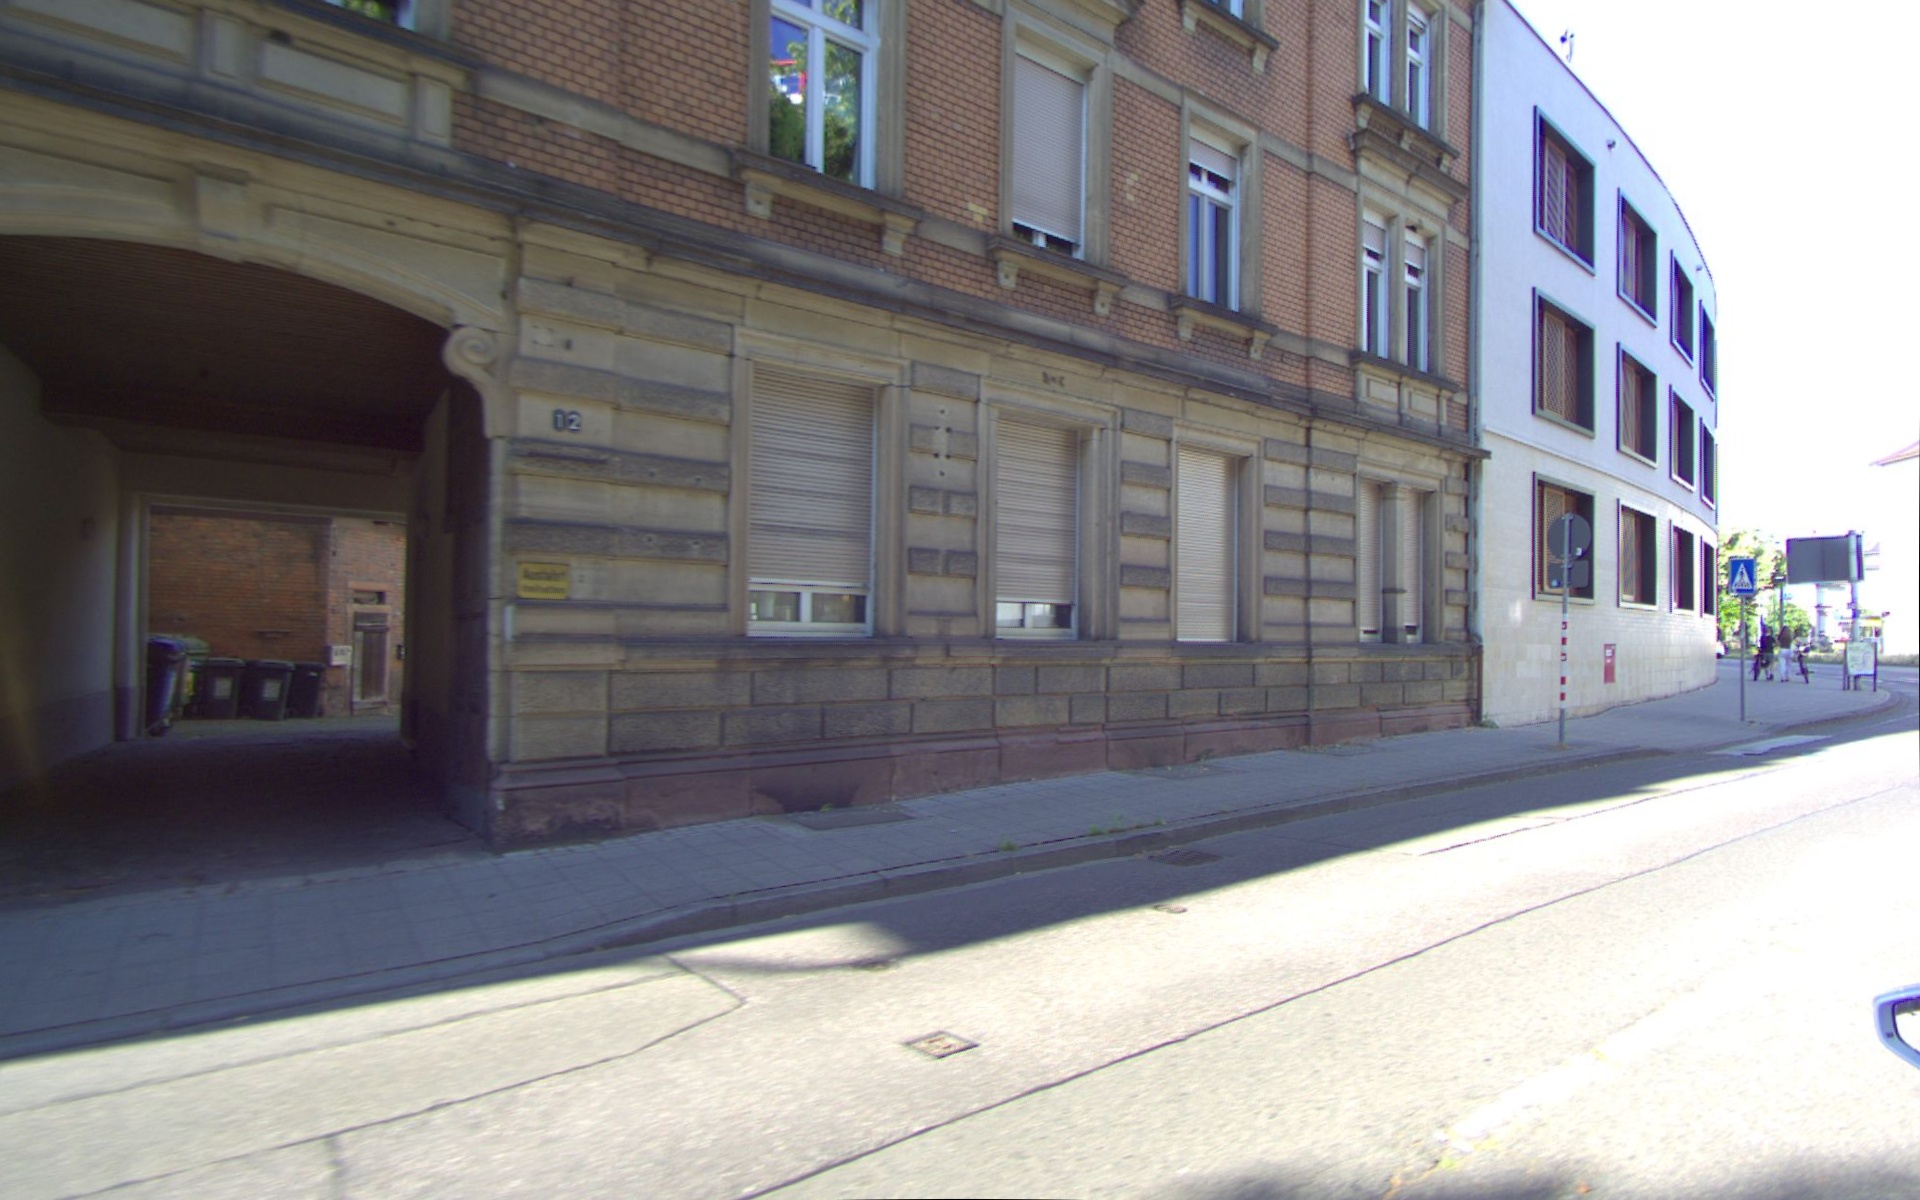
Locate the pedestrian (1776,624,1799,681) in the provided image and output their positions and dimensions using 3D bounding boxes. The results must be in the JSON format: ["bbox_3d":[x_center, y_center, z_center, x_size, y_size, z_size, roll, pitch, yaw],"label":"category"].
[{"bbox_3d":[24.761,1.566,30.063,0.468,1.669,0.600,-2,-2,36],"label":"pedestrian"}]

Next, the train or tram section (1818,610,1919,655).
[{"bbox_3d":[76.910,2.707,83.626,9.740,3.602,2.780,1,-2,-10],"label":"train or tram section"}]

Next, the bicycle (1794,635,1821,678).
[{"bbox_3d":[24.947,1.656,29.582,0.434,1.194,1.960,0,-1,35],"label":"bicycle"}]

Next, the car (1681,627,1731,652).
[{"bbox_3d":[48.501,2.575,65.400,1.929,1.525,3.681,-2,-2,26],"label":"car"}]

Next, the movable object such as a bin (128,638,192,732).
[{"bbox_3d":[-12.533,1.313,15.760,0.671,1.416,0.727,2,-2,-33],"label":"movable object such as a bin"}]

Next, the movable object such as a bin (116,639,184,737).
[{"bbox_3d":[-12.133,1.300,15.075,0.671,1.416,0.727,2,-2,-33],"label":"movable object such as a bin"}]

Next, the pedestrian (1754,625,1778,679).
[{"bbox_3d":[24.359,1.568,30.371,0.468,1.585,0.600,-2,-3,36],"label":"pedestrian"}]

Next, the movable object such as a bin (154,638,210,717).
[{"bbox_3d":[-13.961,1.384,18.046,0.671,1.358,0.824,2,-2,-33],"label":"movable object such as a bin"}]

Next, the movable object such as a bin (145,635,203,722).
[{"bbox_3d":[-13.486,1.327,17.251,0.671,1.442,0.824,2,-2,-33],"label":"movable object such as a bin"}]

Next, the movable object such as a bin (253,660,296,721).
[{"bbox_3d":[-12.480,1.630,18.302,0.595,1.060,0.672,3,-2,-33],"label":"movable object such as a bin"}]

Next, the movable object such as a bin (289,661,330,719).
[{"bbox_3d":[-12.547,1.728,19.373,0.595,1.060,0.671,3,-2,-36],"label":"movable object such as a bin"}]

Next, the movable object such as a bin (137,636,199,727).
[{"bbox_3d":[-13.014,1.326,16.521,0.671,1.442,0.824,2,-2,-33],"label":"movable object such as a bin"}]

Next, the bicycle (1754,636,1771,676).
[{"bbox_3d":[24.396,1.688,30.532,0.371,1.182,1.830,0,-1,38],"label":"bicycle"}]

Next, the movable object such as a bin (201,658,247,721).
[{"bbox_3d":[-13.099,1.582,17.896,0.595,1.060,0.672,3,-2,-33],"label":"movable object such as a bin"}]
